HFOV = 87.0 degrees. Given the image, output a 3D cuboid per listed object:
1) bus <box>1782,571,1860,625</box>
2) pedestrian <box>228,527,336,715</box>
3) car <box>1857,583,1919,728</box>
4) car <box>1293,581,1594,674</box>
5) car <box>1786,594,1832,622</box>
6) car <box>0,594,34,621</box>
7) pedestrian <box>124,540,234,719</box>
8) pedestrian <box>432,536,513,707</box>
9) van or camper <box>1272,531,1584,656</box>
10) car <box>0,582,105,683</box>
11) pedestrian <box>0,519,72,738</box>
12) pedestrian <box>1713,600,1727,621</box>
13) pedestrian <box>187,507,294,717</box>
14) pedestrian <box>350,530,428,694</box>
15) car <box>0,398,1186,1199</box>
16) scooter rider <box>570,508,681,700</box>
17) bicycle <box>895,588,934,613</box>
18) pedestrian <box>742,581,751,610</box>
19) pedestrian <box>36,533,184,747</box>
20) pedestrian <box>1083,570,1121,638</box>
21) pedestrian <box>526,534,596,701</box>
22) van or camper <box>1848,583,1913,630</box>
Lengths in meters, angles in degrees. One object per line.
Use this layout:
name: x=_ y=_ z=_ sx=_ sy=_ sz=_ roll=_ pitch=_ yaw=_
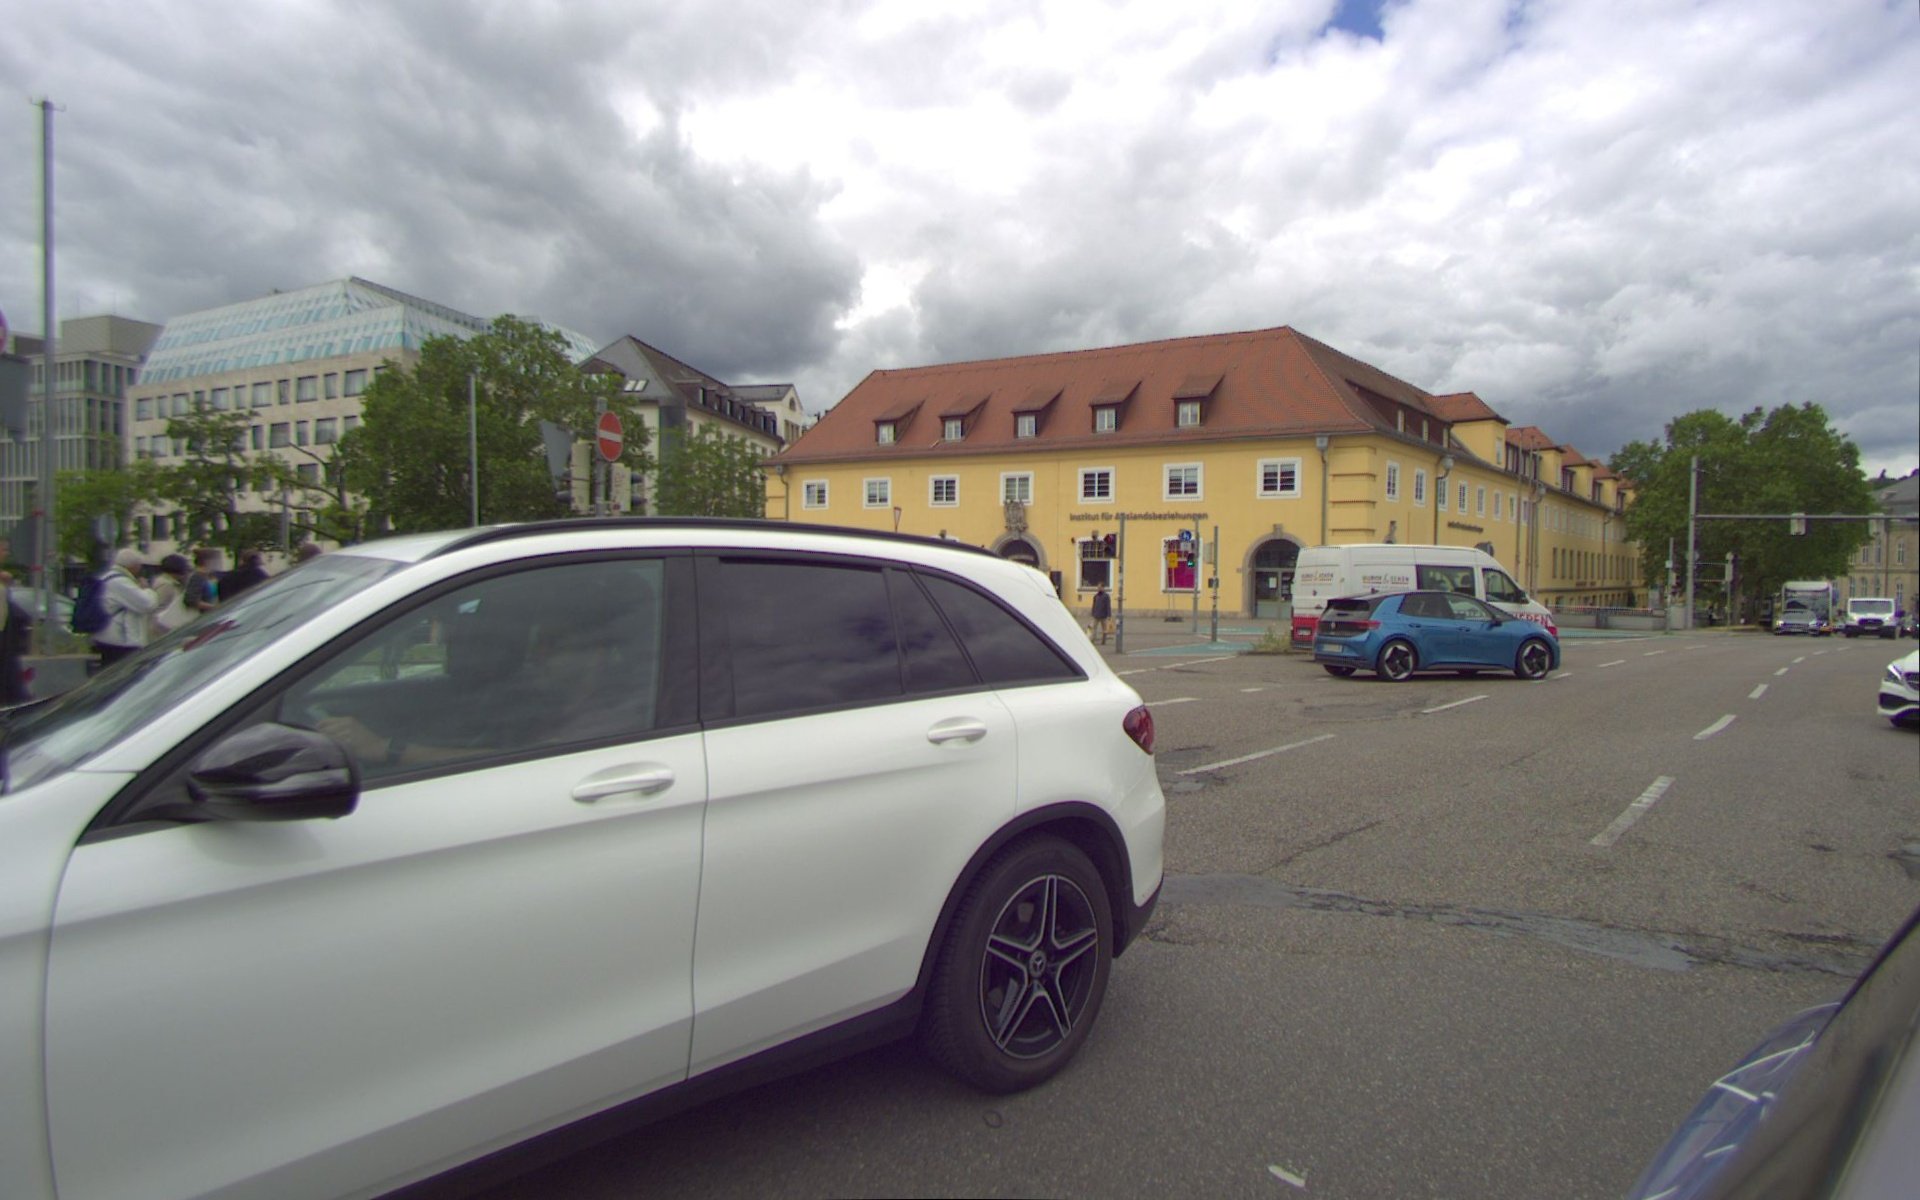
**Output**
bus: x=57.225 y=-0.183 z=67.524 sx=3.419 sy=3.243 sz=12.880 roll=2 pitch=2 yaw=39
pedestrian: x=-6.395 y=0.191 z=9.572 sx=0.599 sy=1.717 sz=0.643 roll=0 pitch=0 yaw=-4
car: x=12.820 y=0.641 z=11.649 sx=4.554 sy=1.589 sz=1.875 roll=1 pitch=1 yaw=-22
car: x=8.461 y=0.474 z=17.859 sx=4.531 sy=1.501 sz=1.952 roll=1 pitch=-1 yaw=-12
car: x=45.966 y=0.403 z=54.811 sx=1.821 sy=1.426 sz=3.941 roll=2 pitch=2 yaw=41
car: x=-66.889 y=0.503 z=70.993 sx=3.973 sy=1.655 sz=1.976 roll=3 pitch=2 yaw=34
pedestrian: x=-7.722 y=0.278 z=10.031 sx=0.599 sy=1.717 sz=0.643 roll=0 pitch=0 yaw=-4
pedestrian: x=-5.343 y=0.226 z=11.117 sx=0.599 sy=1.819 sz=0.643 roll=0 pitch=0 yaw=-4
van or camper: x=10.079 y=-0.111 z=21.939 sx=6.032 sy=2.508 sz=2.151 roll=1 pitch=0 yaw=-12
car: x=-16.372 y=0.467 z=16.170 sx=3.926 sy=1.484 sz=1.838 roll=0 pitch=1 yaw=2
pedestrian: x=-8.412 y=0.230 z=8.862 sx=0.656 sy=1.838 sz=0.703 roll=0 pitch=0 yaw=-1
pedestrian: x=50.688 y=0.697 z=67.505 sx=0.678 sy=1.397 sz=0.571 roll=3 pitch=1 yaw=39
pedestrian: x=-7.045 y=0.113 z=9.934 sx=0.599 sy=1.989 sz=0.643 roll=0 pitch=0 yaw=-4
pedestrian: x=-6.879 y=0.137 z=12.212 sx=0.599 sy=1.934 sz=0.643 roll=0 pitch=0 yaw=-4
car: x=-1.452 y=0.518 z=2.562 sx=4.260 sy=1.667 sz=1.805 roll=1 pitch=2 yaw=-42
scooter rider: x=-3.100 y=0.028 z=9.427 sx=0.752 sy=1.715 sz=0.745 roll=1 pitch=0 yaw=4
bicycle: x=-2.110 y=0.003 z=46.610 sx=1.757 sy=1.099 sz=0.615 roll=1 pitch=1 yaw=30
pedestrian: x=-11.880 y=-0.262 z=56.246 sx=0.482 sy=1.610 sz=0.555 roll=1 pitch=0 yaw=-11
pedestrian: x=-7.407 y=0.330 z=8.852 sx=0.656 sy=1.784 sz=0.764 roll=0 pitch=0 yaw=-1
pedestrian: x=3.903 y=0.095 z=27.721 sx=0.820 sy=1.811 sz=0.745 roll=1 pitch=1 yaw=27
pedestrian: x=-4.853 y=0.205 z=12.341 sx=0.599 sy=1.979 sz=0.643 roll=0 pitch=0 yaw=0
van or camper: x=48.880 y=0.309 z=53.665 sx=2.368 sy=2.290 sz=6.188 roll=3 pitch=2 yaw=43
